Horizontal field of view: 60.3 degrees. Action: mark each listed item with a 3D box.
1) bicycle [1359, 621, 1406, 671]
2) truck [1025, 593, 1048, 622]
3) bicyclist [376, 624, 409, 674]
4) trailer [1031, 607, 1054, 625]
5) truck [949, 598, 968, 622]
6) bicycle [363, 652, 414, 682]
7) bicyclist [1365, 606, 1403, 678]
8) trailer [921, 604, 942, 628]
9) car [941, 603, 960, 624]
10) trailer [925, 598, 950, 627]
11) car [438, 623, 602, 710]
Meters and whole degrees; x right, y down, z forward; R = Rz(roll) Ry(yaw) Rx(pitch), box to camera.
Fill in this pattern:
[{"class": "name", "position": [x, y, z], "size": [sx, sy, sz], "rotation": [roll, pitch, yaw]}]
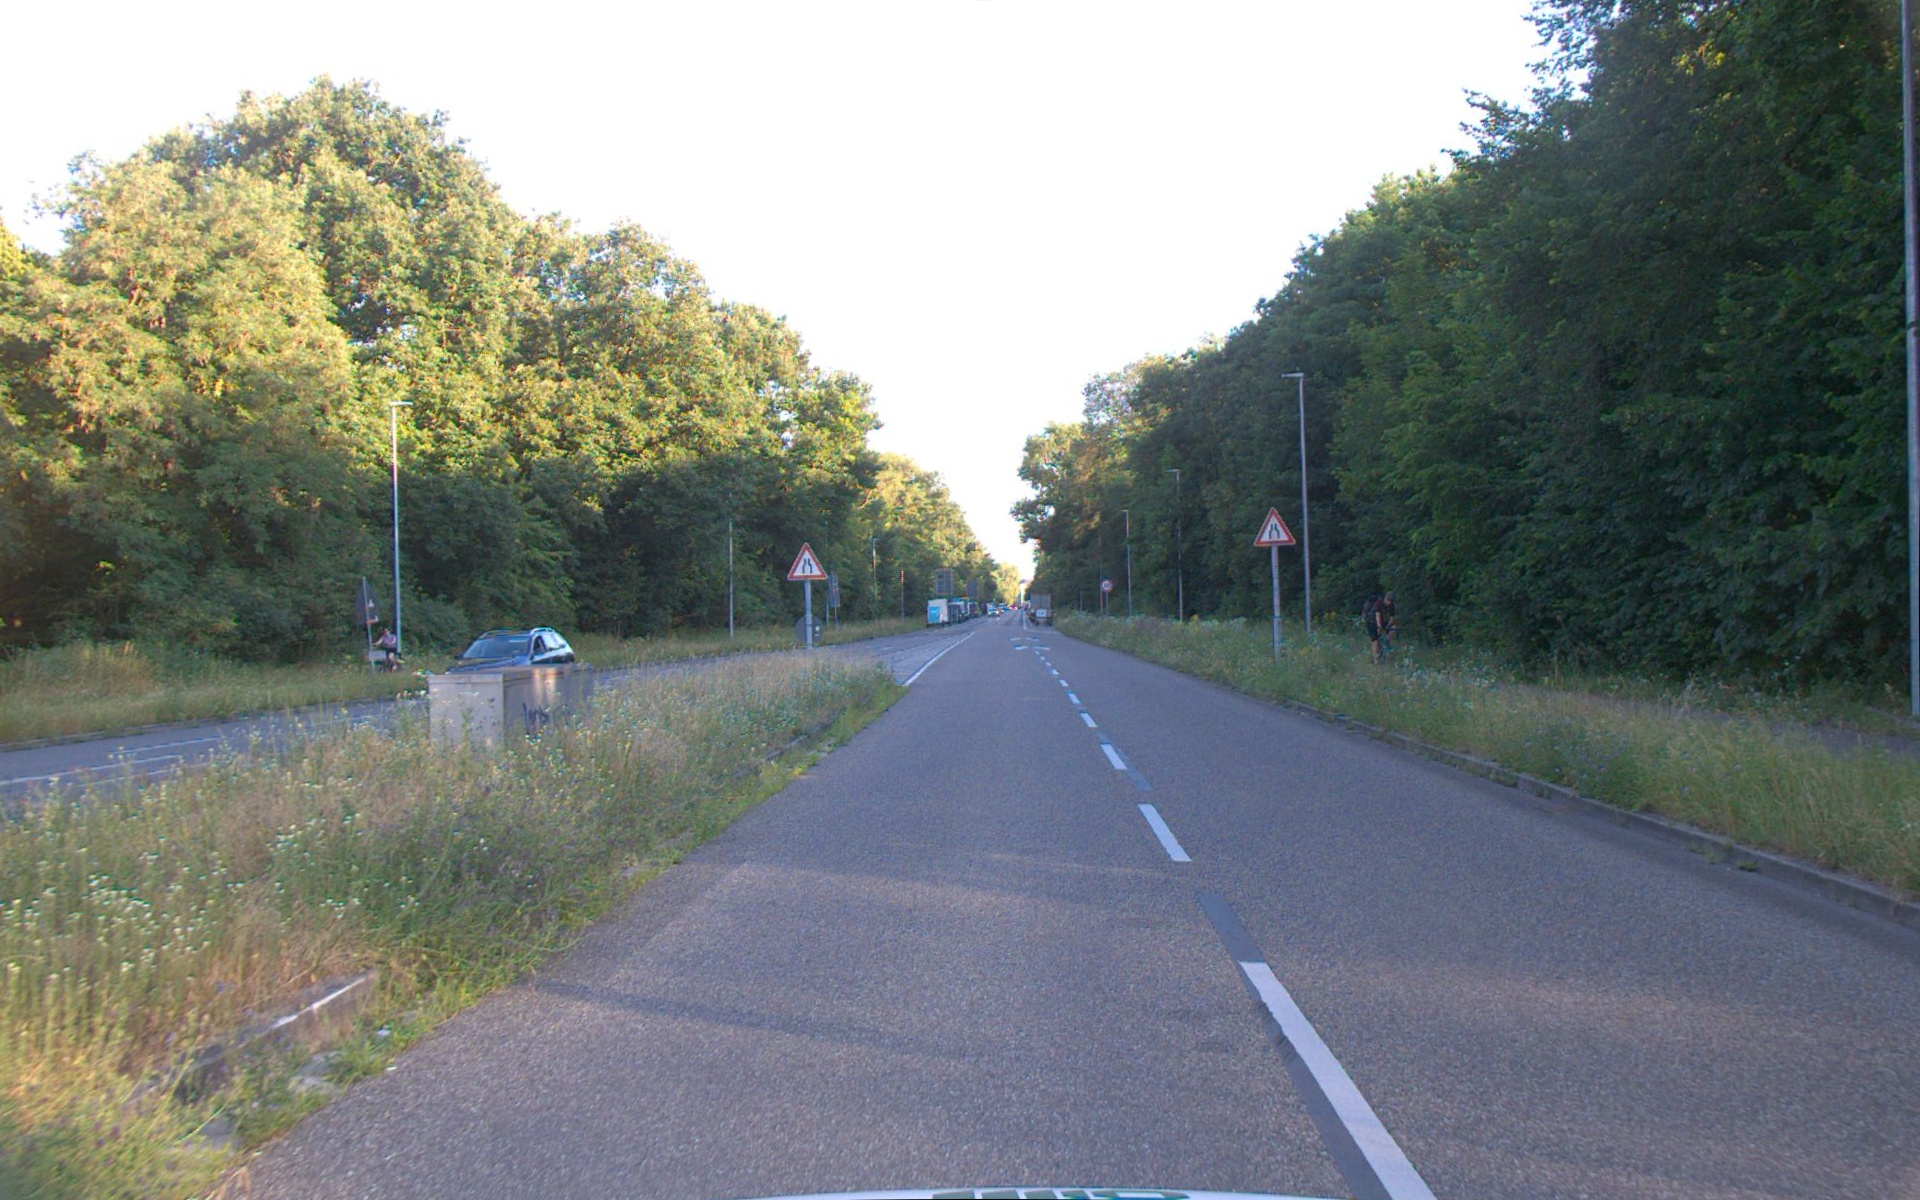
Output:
[{"class": "bicycle", "position": [8.951, 0.972, 35.074], "size": [0.598, 1.013, 1.691], "rotation": [-2, -1, 3]}, {"class": "truck", "position": [8.906, 0.879, 192.527], "size": [2.534, 3.312, 7.223], "rotation": [0, -1, 3]}, {"class": "bicyclist", "position": [-16.909, 1.449, 49.324], "size": [0.573, 1.454, 0.823], "rotation": [-2, -1, 9]}, {"class": "trailer", "position": [7.959, 1.520, 160.116], "size": [1.425, 1.691, 3.780], "rotation": [-2, -1, 15]}, {"class": "truck", "position": [-0.167, 1.457, 244.718], "size": [2.452, 3.387, 6.843], "rotation": [-2, 0, 2]}, {"class": "bicycle", "position": [-16.987, 1.983, 49.171], "size": [0.573, 0.818, 1.960], "rotation": [-2, 0, 9]}, {"class": "bicyclist", "position": [8.963, 0.880, 34.972], "size": [0.590, 1.480, 0.780], "rotation": [-2, -1, 3]}, {"class": "trailer", "position": [-2.733, 1.579, 160.685], "size": [1.780, 2.205, 4.143], "rotation": [-2, 0, 1]}, {"class": "car", "position": [-1.185, 1.702, 202.712], "size": [1.952, 2.405, 5.767], "rotation": [-4, 0, 2]}, {"class": "trailer", "position": [-2.415, 1.323, 176.301], "size": [2.278, 2.975, 5.627], "rotation": [-4, 0, 1]}, {"class": "car", "position": [-9.099, 1.334, 34.594], "size": [1.781, 1.560, 4.458], "rotation": [-3, -1, 6]}]
